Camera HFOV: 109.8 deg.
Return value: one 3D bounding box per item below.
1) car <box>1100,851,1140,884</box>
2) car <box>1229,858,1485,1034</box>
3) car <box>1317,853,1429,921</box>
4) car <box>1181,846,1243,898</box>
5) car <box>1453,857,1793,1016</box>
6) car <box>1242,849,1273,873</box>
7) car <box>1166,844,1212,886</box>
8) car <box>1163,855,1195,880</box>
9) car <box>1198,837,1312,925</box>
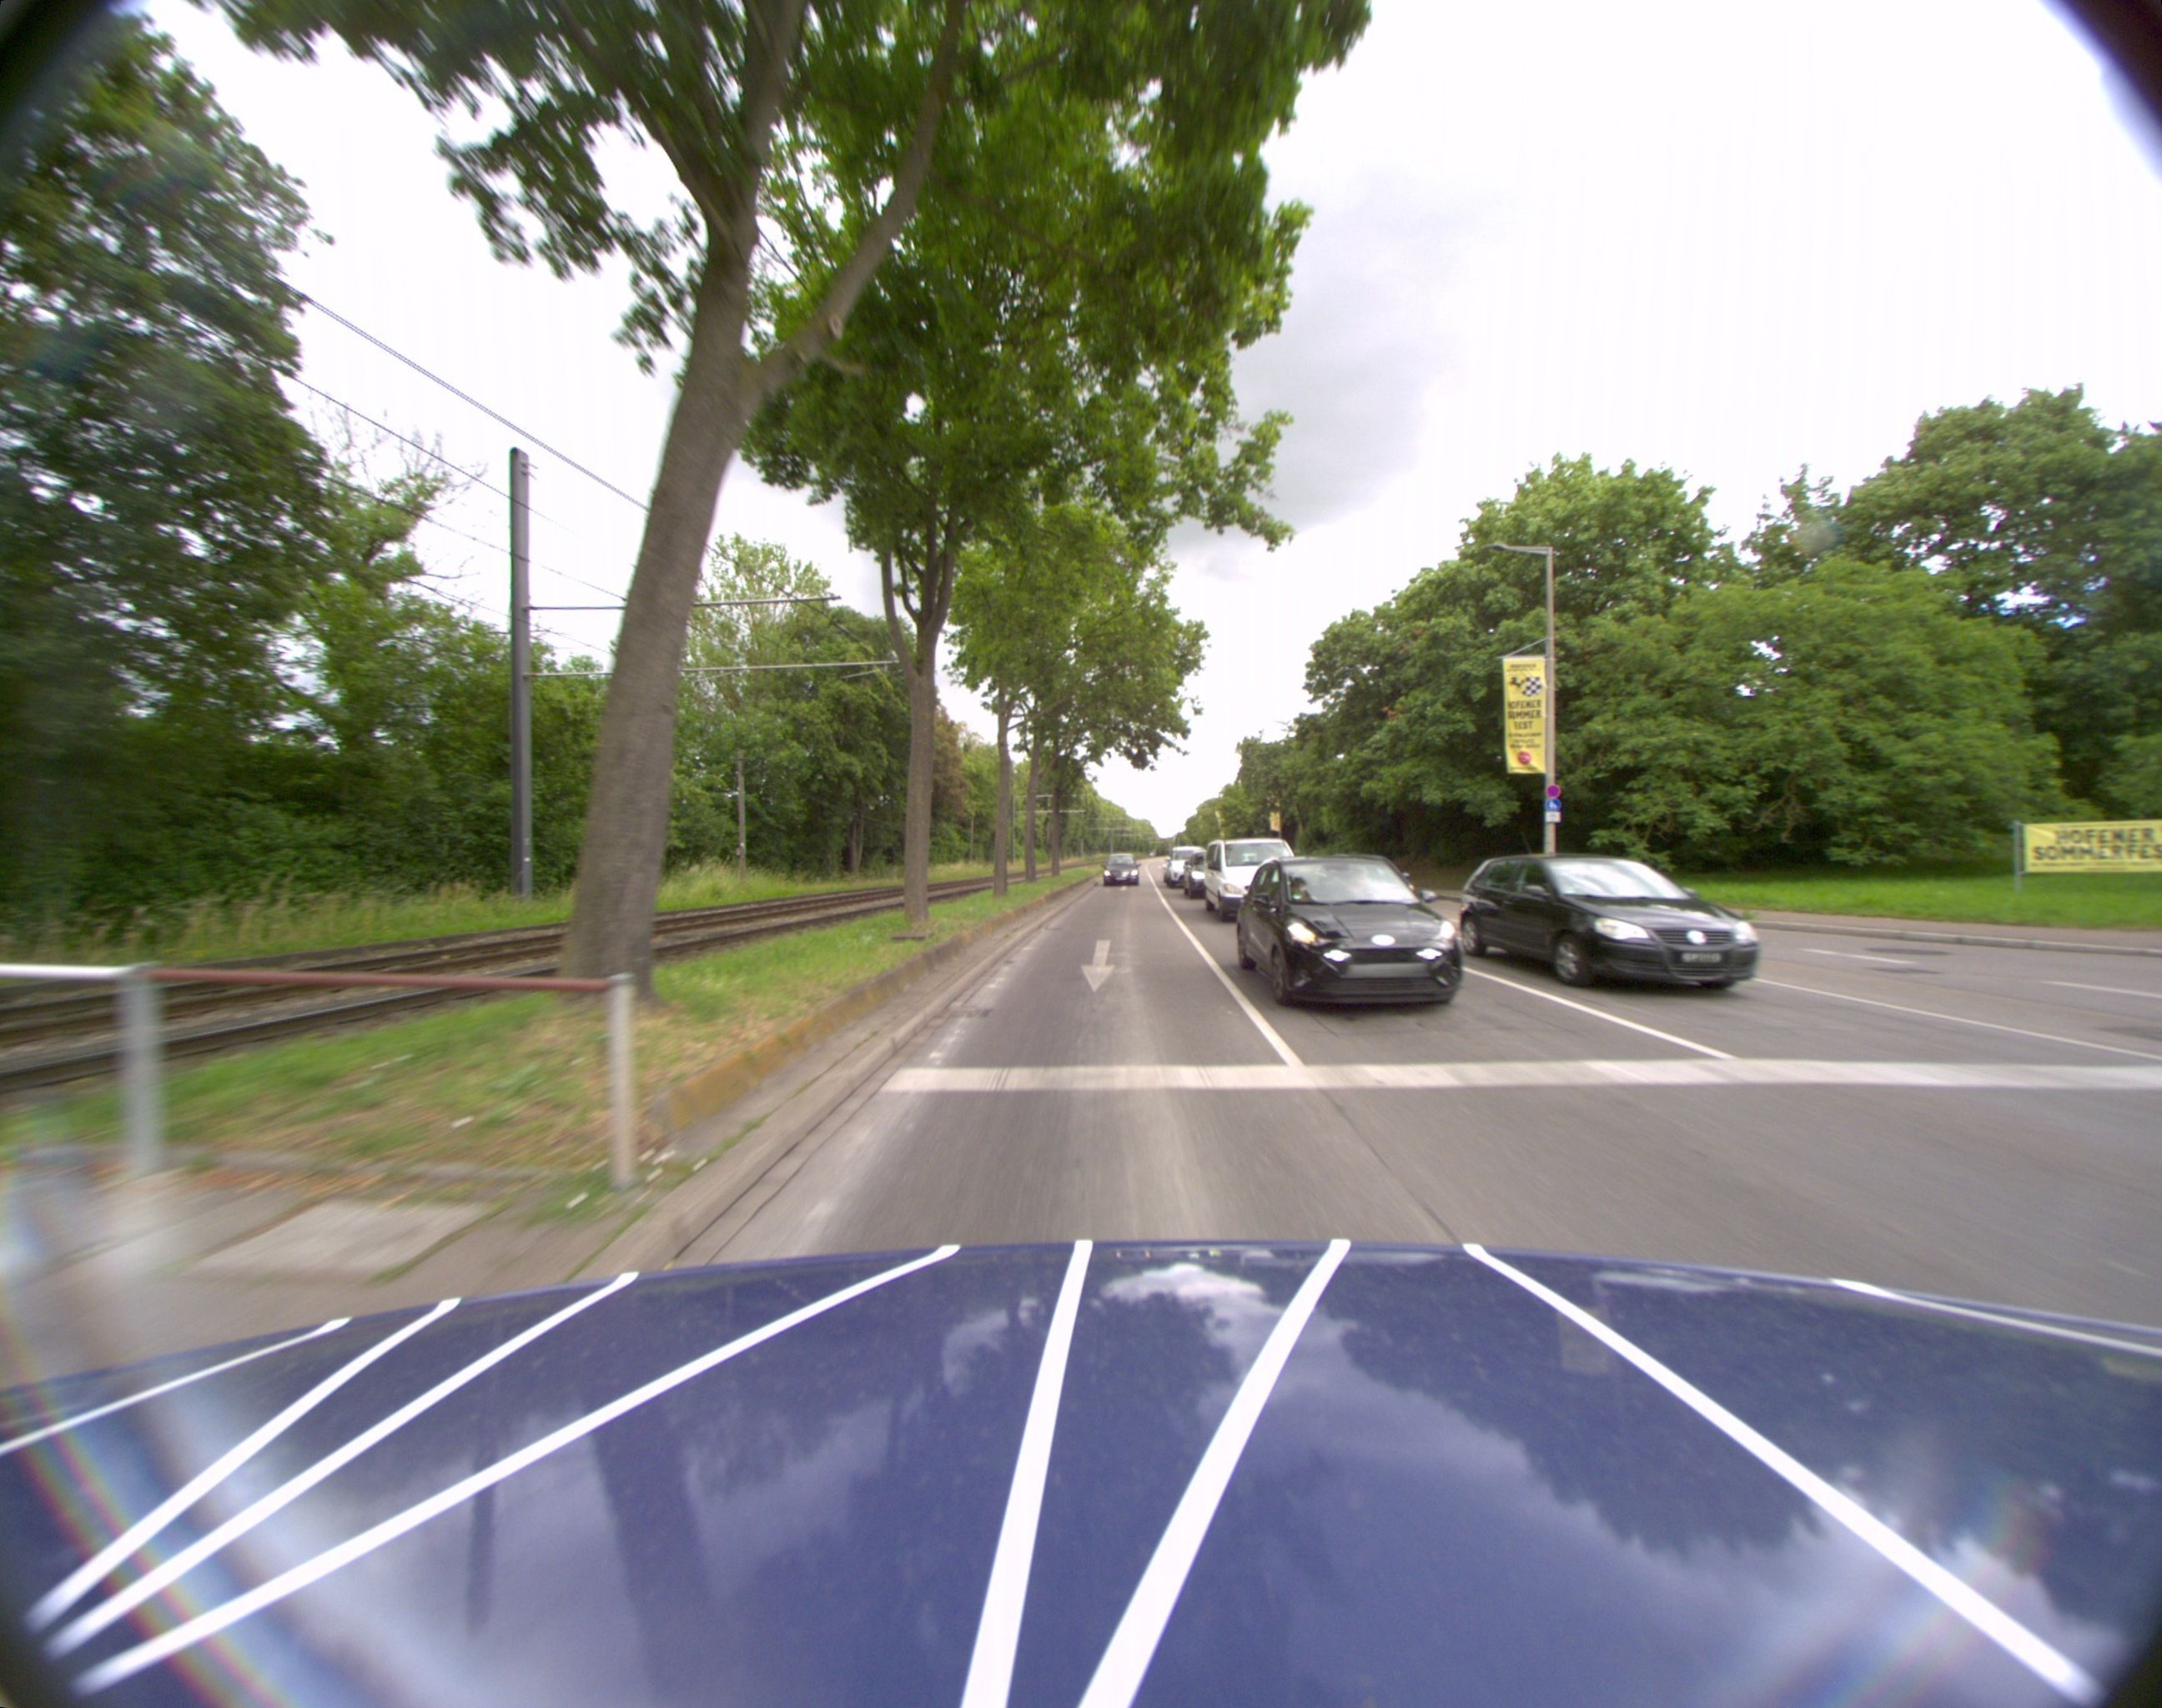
[{"bbox_3d":[2.068,0.664,38.985,1.807,1.520,3.930,-2,1,6],"label":"car"},{"bbox_3d":[2.747,0.815,8.432,1.707,1.472,3.668,-1,0,4],"label":"car"},{"bbox_3d":[7.014,0.722,18.648,1.595,1.459,3.930,1,0,6],"label":"car"},{"bbox_3d":[4.607,0.605,27.241,1.755,1.708,4.336,-1,0,4],"label":"car"},{"bbox_3d":[6.060,0.788,9.115,1.559,1.458,3.808,0,0,4],"label":"car"},{"bbox_3d":[12.350,0.444,53.257,1.743,1.530,3.912,-2,0,8],"label":"car"},{"bbox_3d":[4.941,0.460,35.242,1.807,1.784,4.504,-2,1,5],"label":"car"},{"bbox_3d":[5.369,0.703,42.000,1.558,1.260,3.823,-1,1,5],"label":"car"},{"bbox_3d":[4.062,0.555,18.622,1.911,1.832,5.283,-1,0,4],"label":"car"}]
